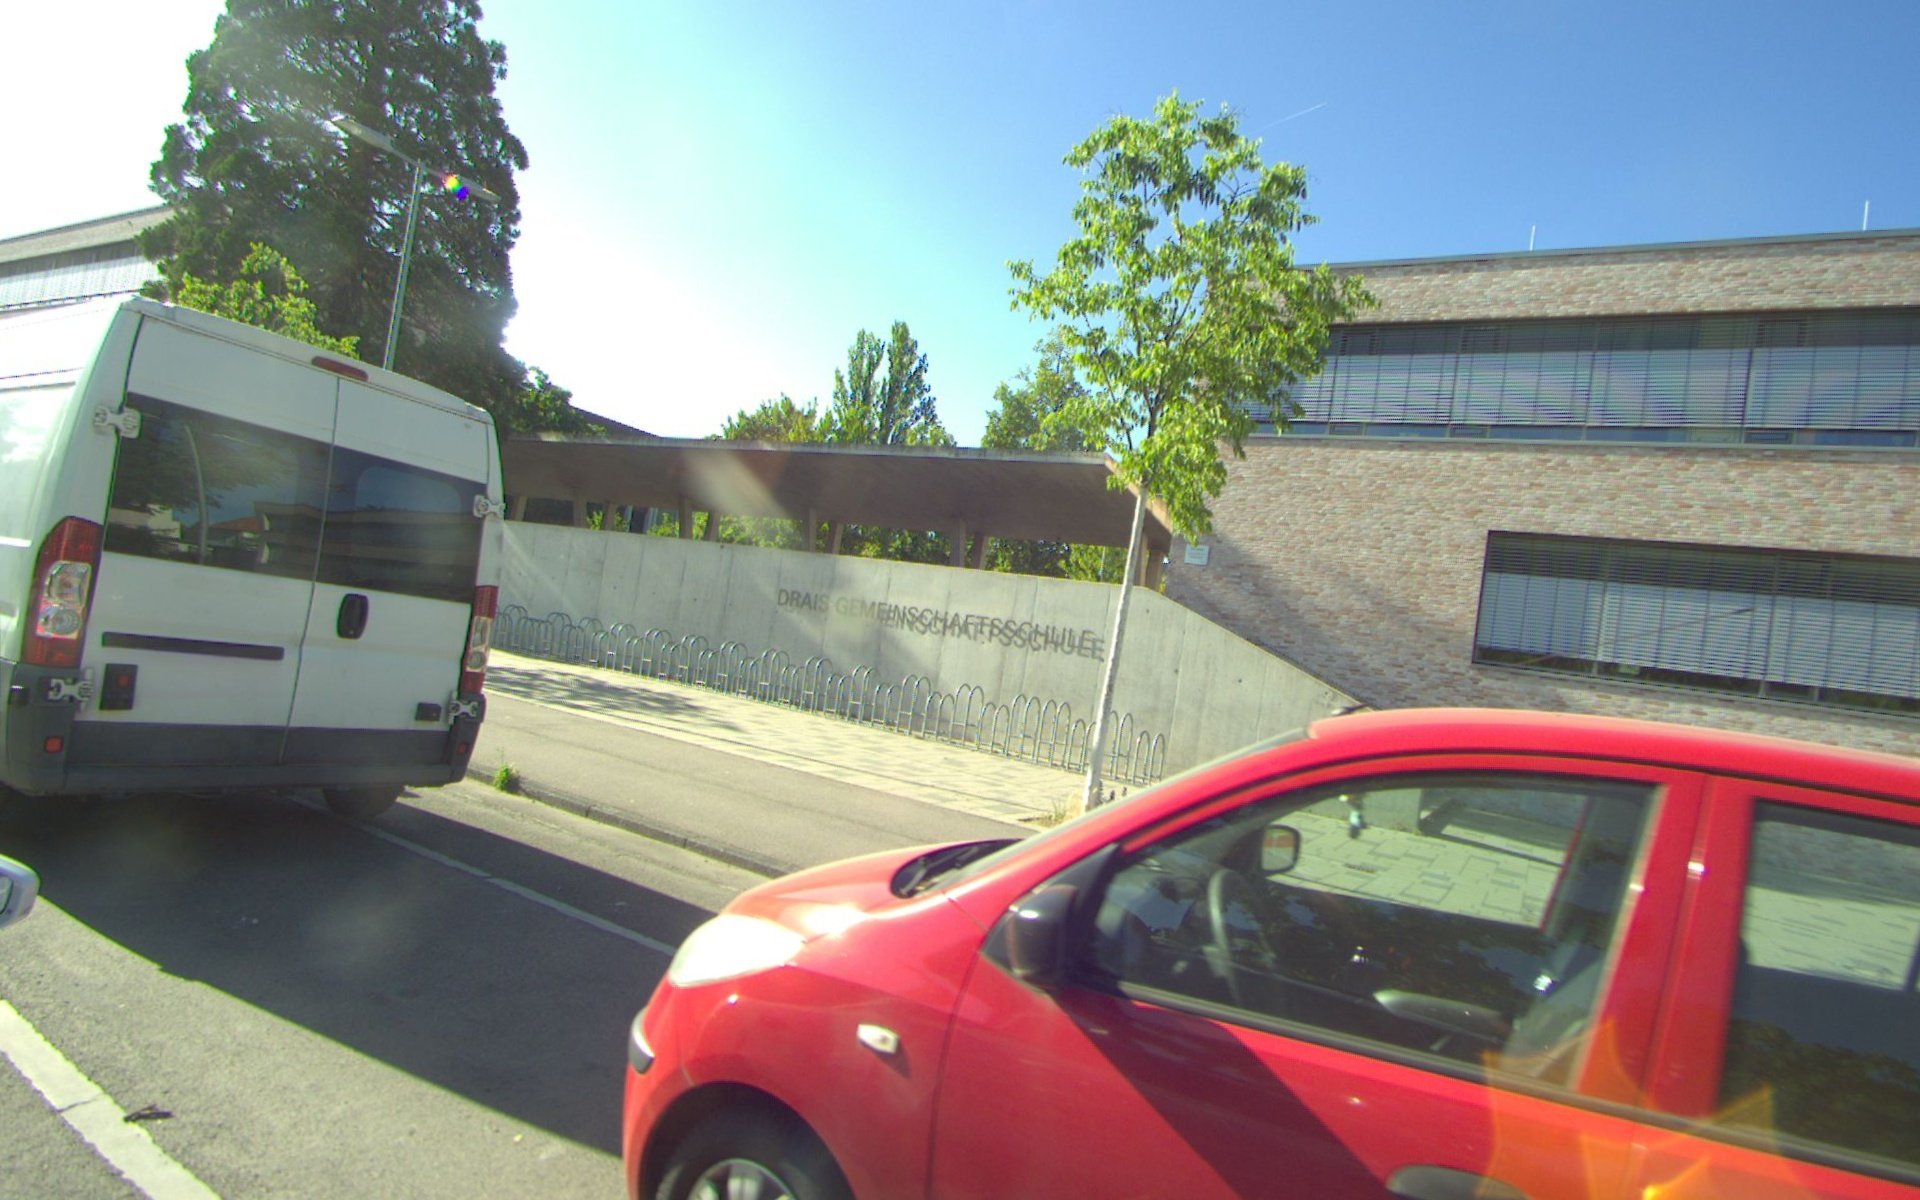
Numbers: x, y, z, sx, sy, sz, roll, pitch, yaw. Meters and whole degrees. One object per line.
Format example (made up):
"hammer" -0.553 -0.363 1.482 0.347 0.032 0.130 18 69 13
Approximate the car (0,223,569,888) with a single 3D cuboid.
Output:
"car" -5.277 -0.298 6.247 5.342 2.602 2.247 7 -3 32

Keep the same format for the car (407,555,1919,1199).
"car" 0.768 0.989 2.103 3.530 1.606 1.625 7 -3 29
